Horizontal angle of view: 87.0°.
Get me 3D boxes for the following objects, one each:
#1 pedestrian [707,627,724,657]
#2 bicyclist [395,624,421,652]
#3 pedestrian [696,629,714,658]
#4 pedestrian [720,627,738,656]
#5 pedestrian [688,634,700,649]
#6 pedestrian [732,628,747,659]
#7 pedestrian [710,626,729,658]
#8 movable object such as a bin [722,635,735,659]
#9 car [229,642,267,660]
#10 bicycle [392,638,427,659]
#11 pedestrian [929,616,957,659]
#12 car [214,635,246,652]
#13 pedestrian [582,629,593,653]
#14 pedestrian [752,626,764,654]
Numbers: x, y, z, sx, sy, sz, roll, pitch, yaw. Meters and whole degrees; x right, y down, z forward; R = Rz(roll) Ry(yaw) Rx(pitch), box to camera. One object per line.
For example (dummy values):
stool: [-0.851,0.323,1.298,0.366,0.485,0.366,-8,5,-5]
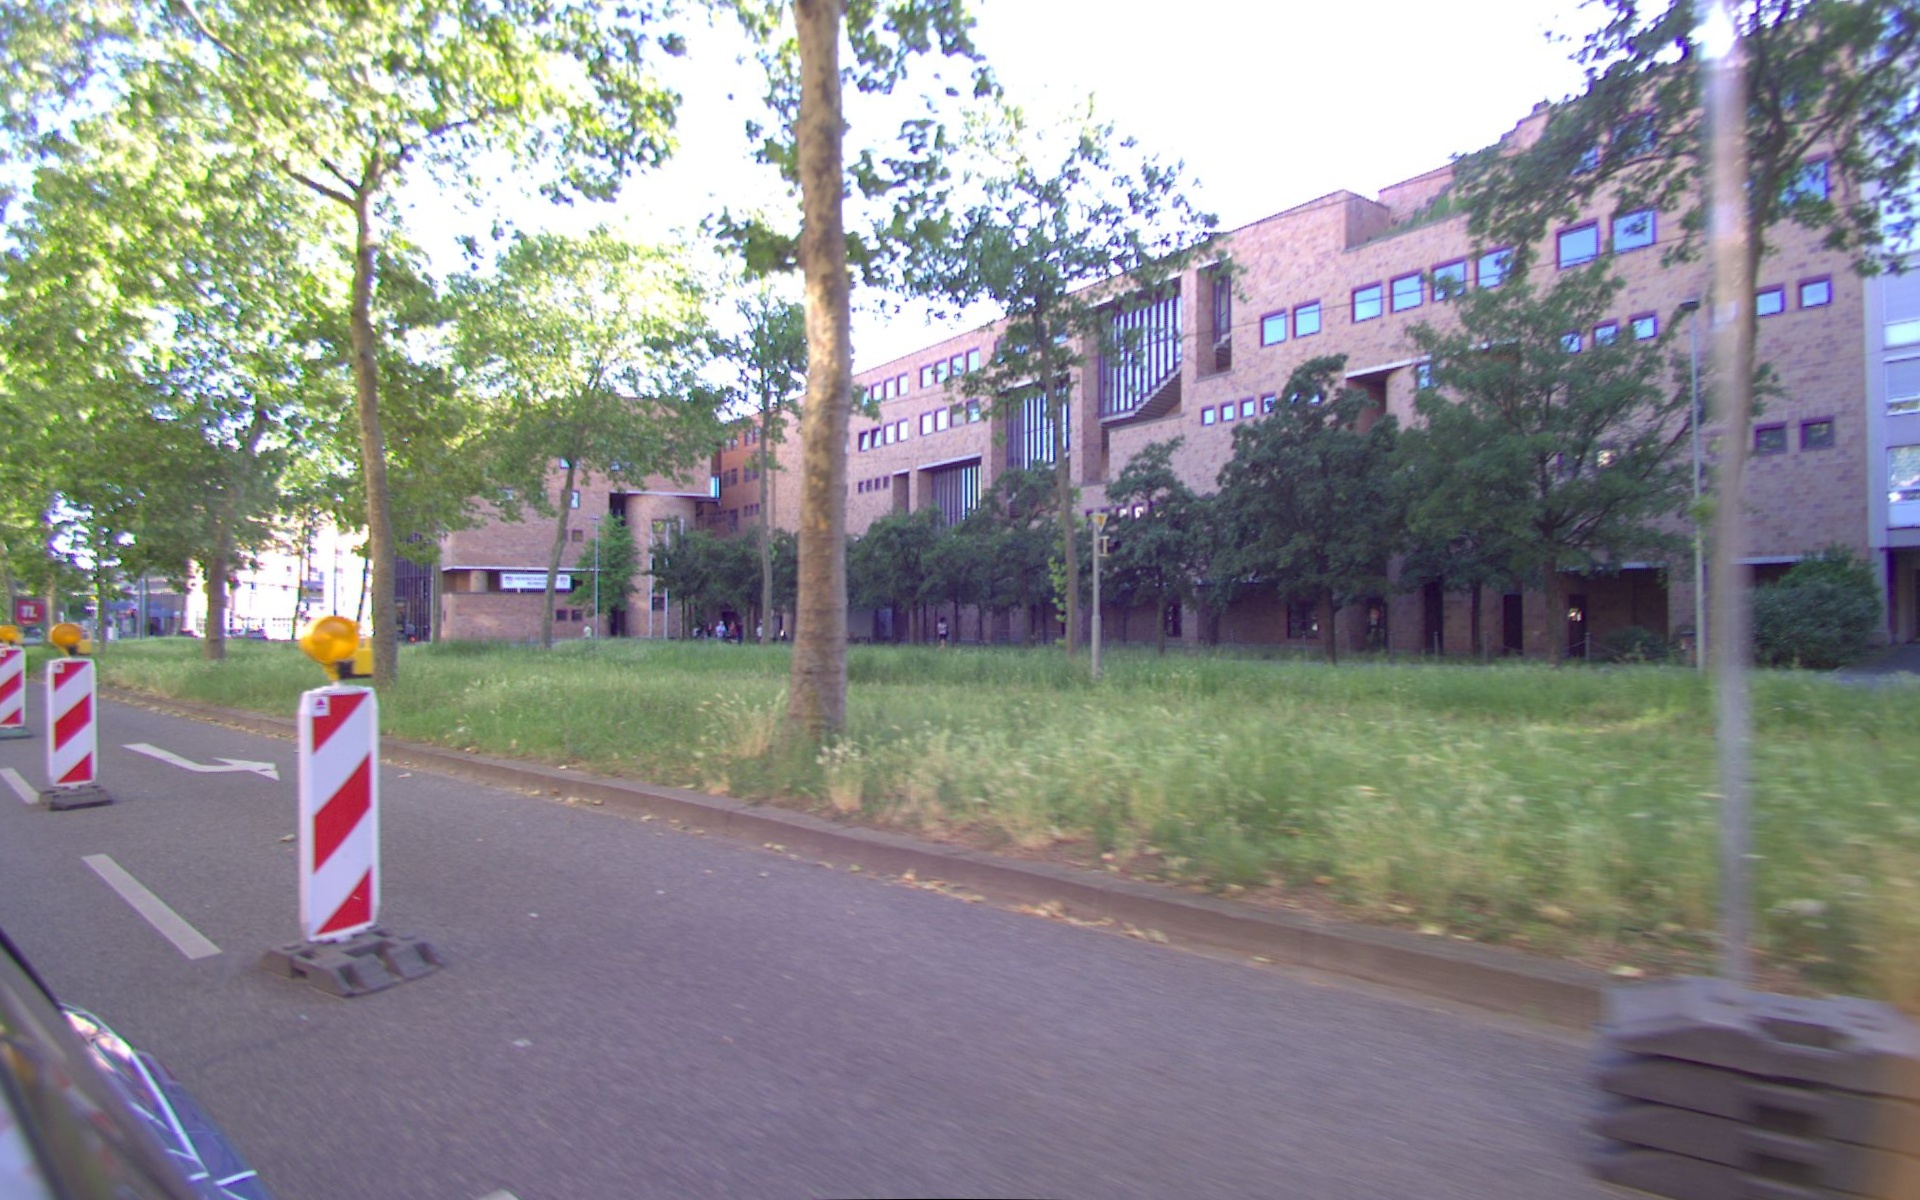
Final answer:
pedestrian: [-13.784,2.362,57.024,0.756,1.629,0.657,-2,-2,42]
bicyclist: [-30.720,2.112,56.355,1.209,1.583,0.931,-2,-3,43]
pedestrian: [-14.218,2.421,56.451,0.756,1.629,0.657,-2,-2,41]
pedestrian: [-12.739,2.286,55.870,0.756,1.629,0.657,-2,-2,41]
pedestrian: [-20.411,3.182,77.694,0.628,1.207,0.658,-2,-2,32]
pedestrian: [-12.242,2.414,56.201,0.596,1.692,0.604,-2,-2,41]
pedestrian: [-13.110,2.280,55.206,0.796,1.735,0.657,-2,-2,41]
movable object such as a bin: [-12.509,2.518,54.691,0.756,1.289,0.352,-2,-2,42]
car: [-59.598,4.268,84.737,4.148,1.440,1.653,-2,-3,41]
bicycle: [-30.613,2.691,56.253,2.436,1.134,0.946,-1,-2,43]
pedestrian: [-0.764,1.658,44.778,0.901,1.845,0.815,-2,-2,43]
car: [-64.216,3.842,89.015,3.220,1.440,1.596,-2,-3,41]
pedestrian: [-24.410,2.680,66.316,0.653,1.555,0.411,-2,-3,45]
pedestrian: [-11.253,2.229,56.401,0.463,1.517,0.478,-2,-2,39]
